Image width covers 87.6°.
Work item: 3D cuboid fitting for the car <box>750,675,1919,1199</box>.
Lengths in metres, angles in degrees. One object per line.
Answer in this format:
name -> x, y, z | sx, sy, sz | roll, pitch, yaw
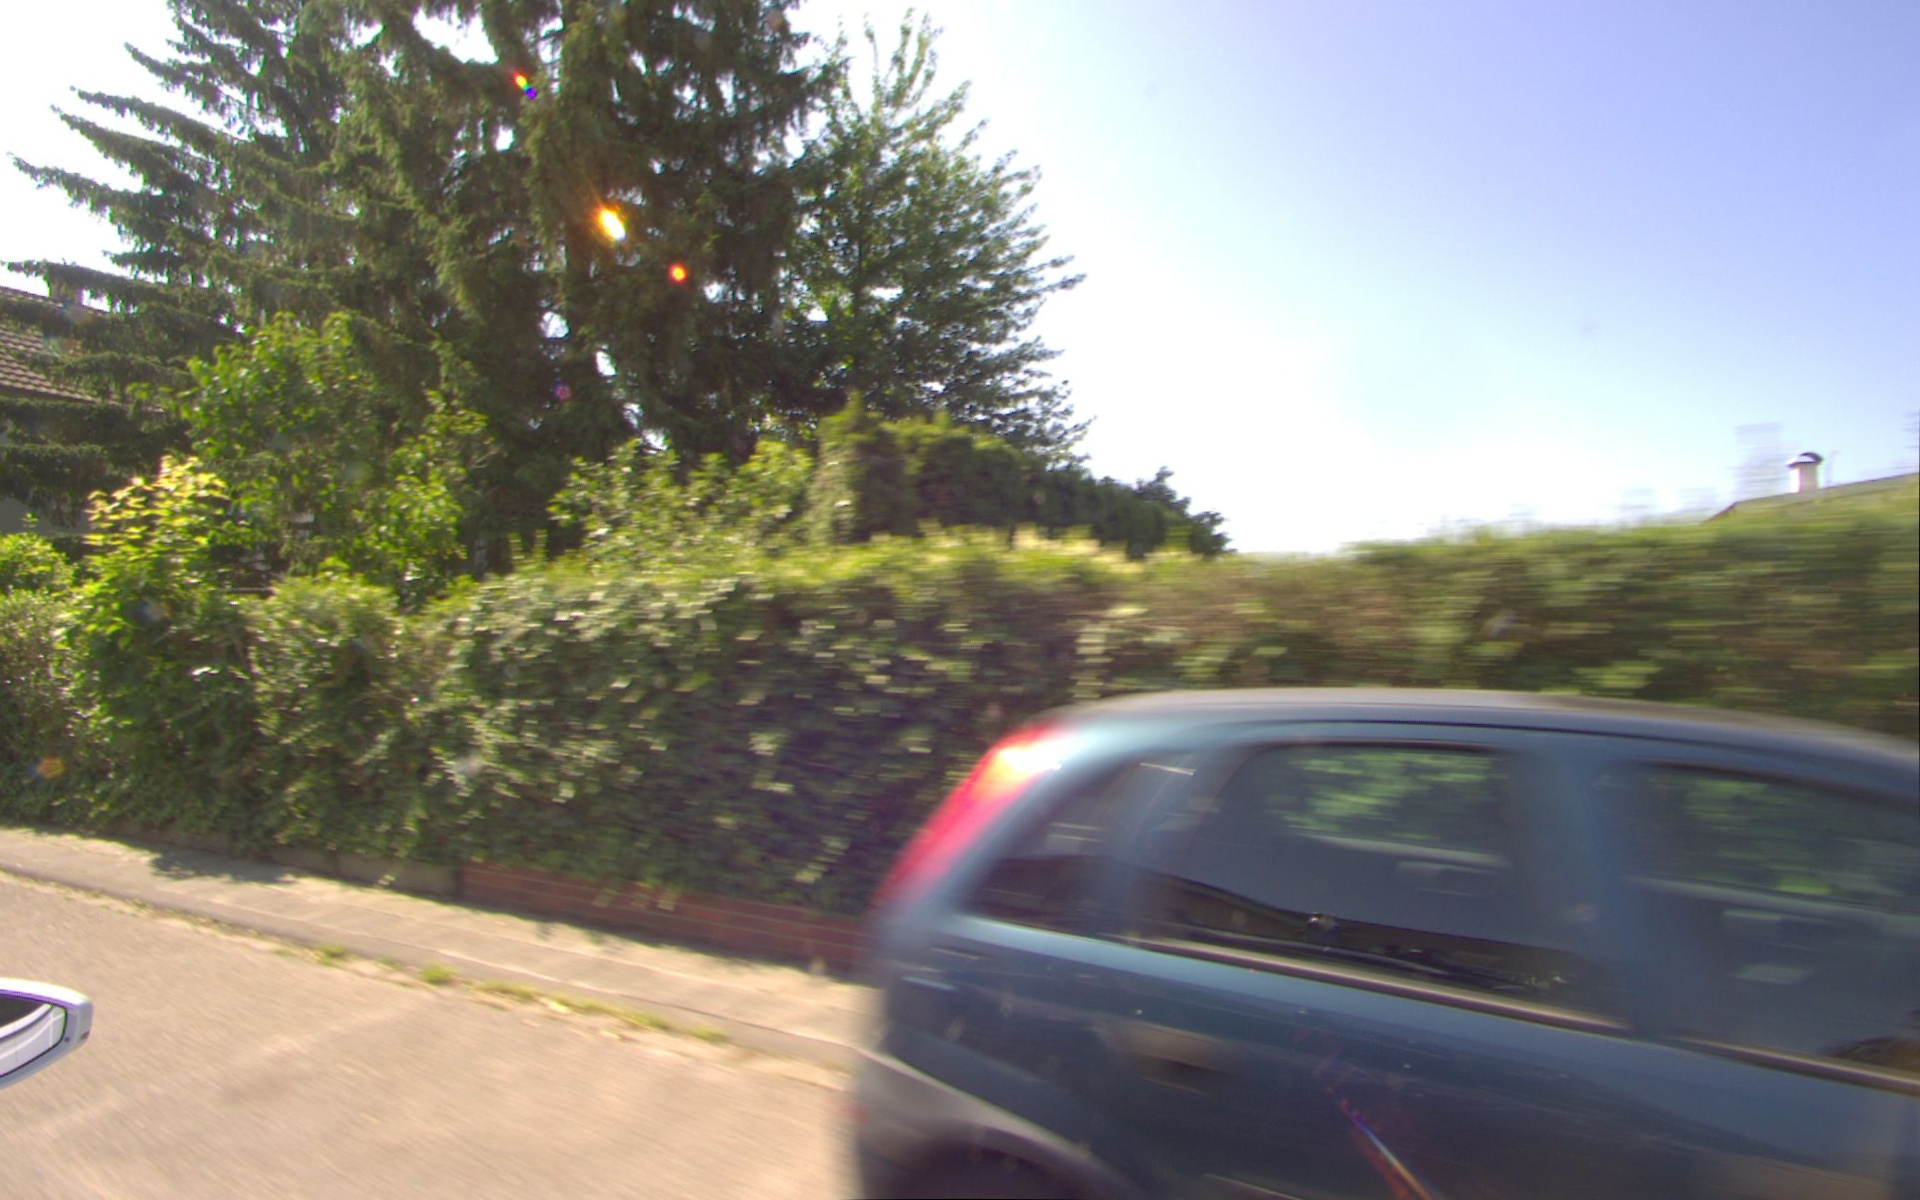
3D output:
car -> 1.706, 0.896, 1.934 | 3.936, 1.416, 1.703 | -1, -3, 27
